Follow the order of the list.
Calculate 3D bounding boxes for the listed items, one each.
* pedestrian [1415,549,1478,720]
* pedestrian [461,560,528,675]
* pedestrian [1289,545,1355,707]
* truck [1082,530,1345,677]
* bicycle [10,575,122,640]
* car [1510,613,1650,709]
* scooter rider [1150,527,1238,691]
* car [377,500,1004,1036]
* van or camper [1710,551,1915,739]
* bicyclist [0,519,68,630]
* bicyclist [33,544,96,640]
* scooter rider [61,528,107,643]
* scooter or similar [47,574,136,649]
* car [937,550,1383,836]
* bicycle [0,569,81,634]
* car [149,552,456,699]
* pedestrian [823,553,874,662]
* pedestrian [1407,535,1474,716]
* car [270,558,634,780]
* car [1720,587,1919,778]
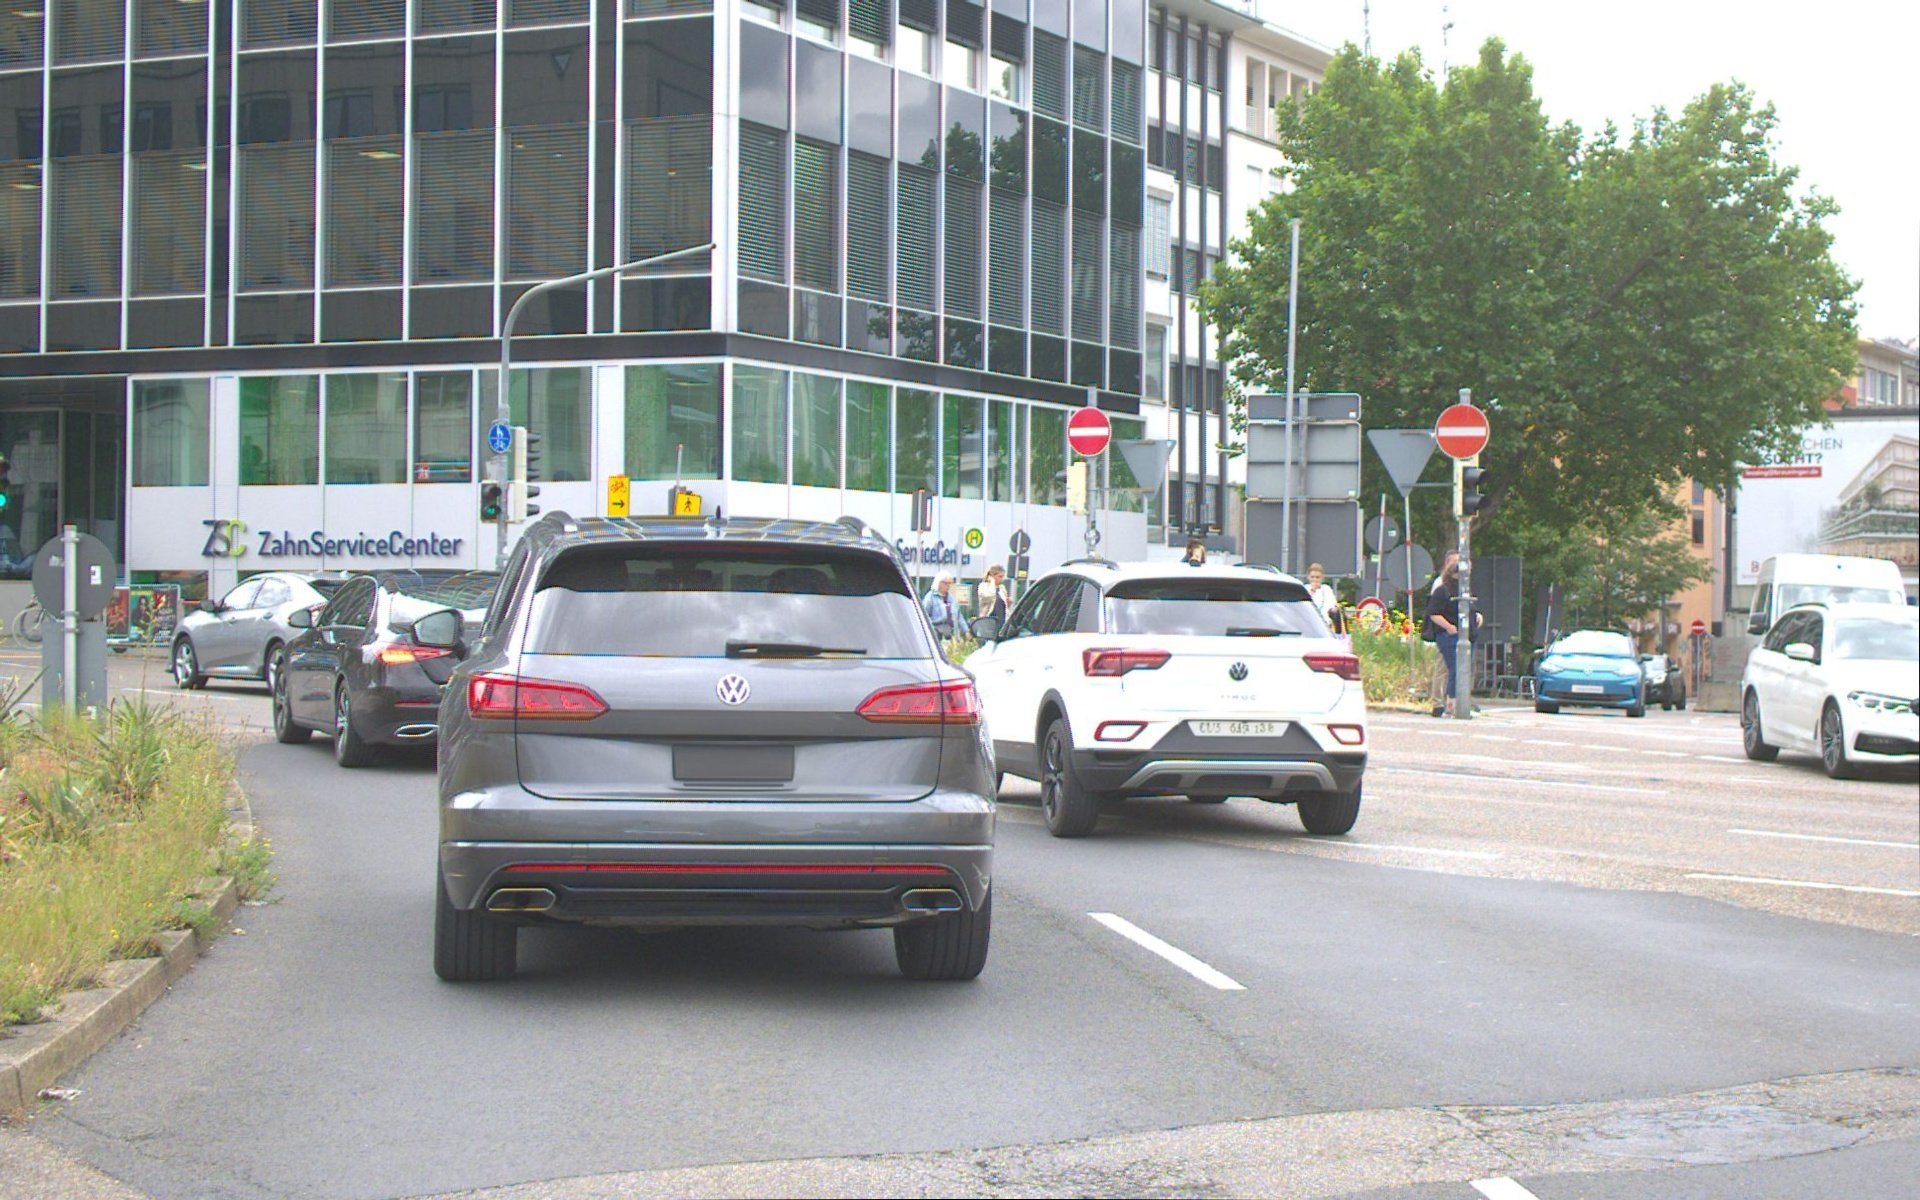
[{"bbox_3d":[5.524,0.390,39.037,0.641,1.904,0.610,2,0,8],"label":"pedestrian"},{"bbox_3d":[-6.969,0.250,51.453,0.800,1.692,0.547,2,1,30],"label":"pedestrian"},{"bbox_3d":[4.115,0.293,39.021,0.641,1.791,0.610,3,0,8],"label":"pedestrian"},{"bbox_3d":[5.795,0.137,76.981,2.342,3.053,8.185,2,0,31],"label":"truck"},{"bbox_3d":[-14.493,0.115,55.748,1.664,1.023,0.581,1,1,3],"label":"bicycle"},{"bbox_3d":[10.834,1.038,60.334,1.943,1.477,4.627,3,0,5],"label":"car"},{"bbox_3d":[2.484,0.095,36.436,0.744,1.688,0.766,2,0,16],"label":"scooter rider"},{"bbox_3d":[-1.042,0.491,13.123,1.970,1.690,4.225,1,1,-5],"label":"car"},{"bbox_3d":[12.290,0.608,49.932,2.141,2.469,6.159,2,0,8],"label":"van or camper"},{"bbox_3d":[-15.869,-0.440,58.812,0.812,1.839,0.674,3,-1,26],"label":"bicyclist"},{"bbox_3d":[-14.514,-0.137,55.747,0.843,1.544,0.565,1,1,3],"label":"bicyclist"},{"bbox_3d":[-13.905,-0.230,54.577,0.641,1.802,0.593,0,1,-10],"label":"scooter rider"},{"bbox_3d":[-13.784,0.178,54.606,1.319,1.172,0.593,0,1,-10],"label":"scooter or similar"},{"bbox_3d":[1.093,0.541,20.739,1.797,1.540,3.936,1,-1,-10],"label":"car"},{"bbox_3d":[-15.970,0.024,58.798,1.764,1.003,0.679,3,3,26],"label":"bicycle"},{"bbox_3d":[-7.589,0.266,39.427,1.833,1.427,4.147,3,0,-35],"label":"car"},{"bbox_3d":[-1.809,0.119,55.625,0.635,1.742,0.590,2,0,15],"label":"pedestrian"},{"bbox_3d":[5.275,0.276,37.735,0.641,1.948,0.610,2,0,11],"label":"pedestrian"},{"bbox_3d":[-3.878,0.459,25.642,1.833,1.391,4.149,3,0,-20],"label":"car"},{"bbox_3d":[8.151,0.695,29.946,1.993,1.499,5.040,2,0,1],"label":"car"}]
